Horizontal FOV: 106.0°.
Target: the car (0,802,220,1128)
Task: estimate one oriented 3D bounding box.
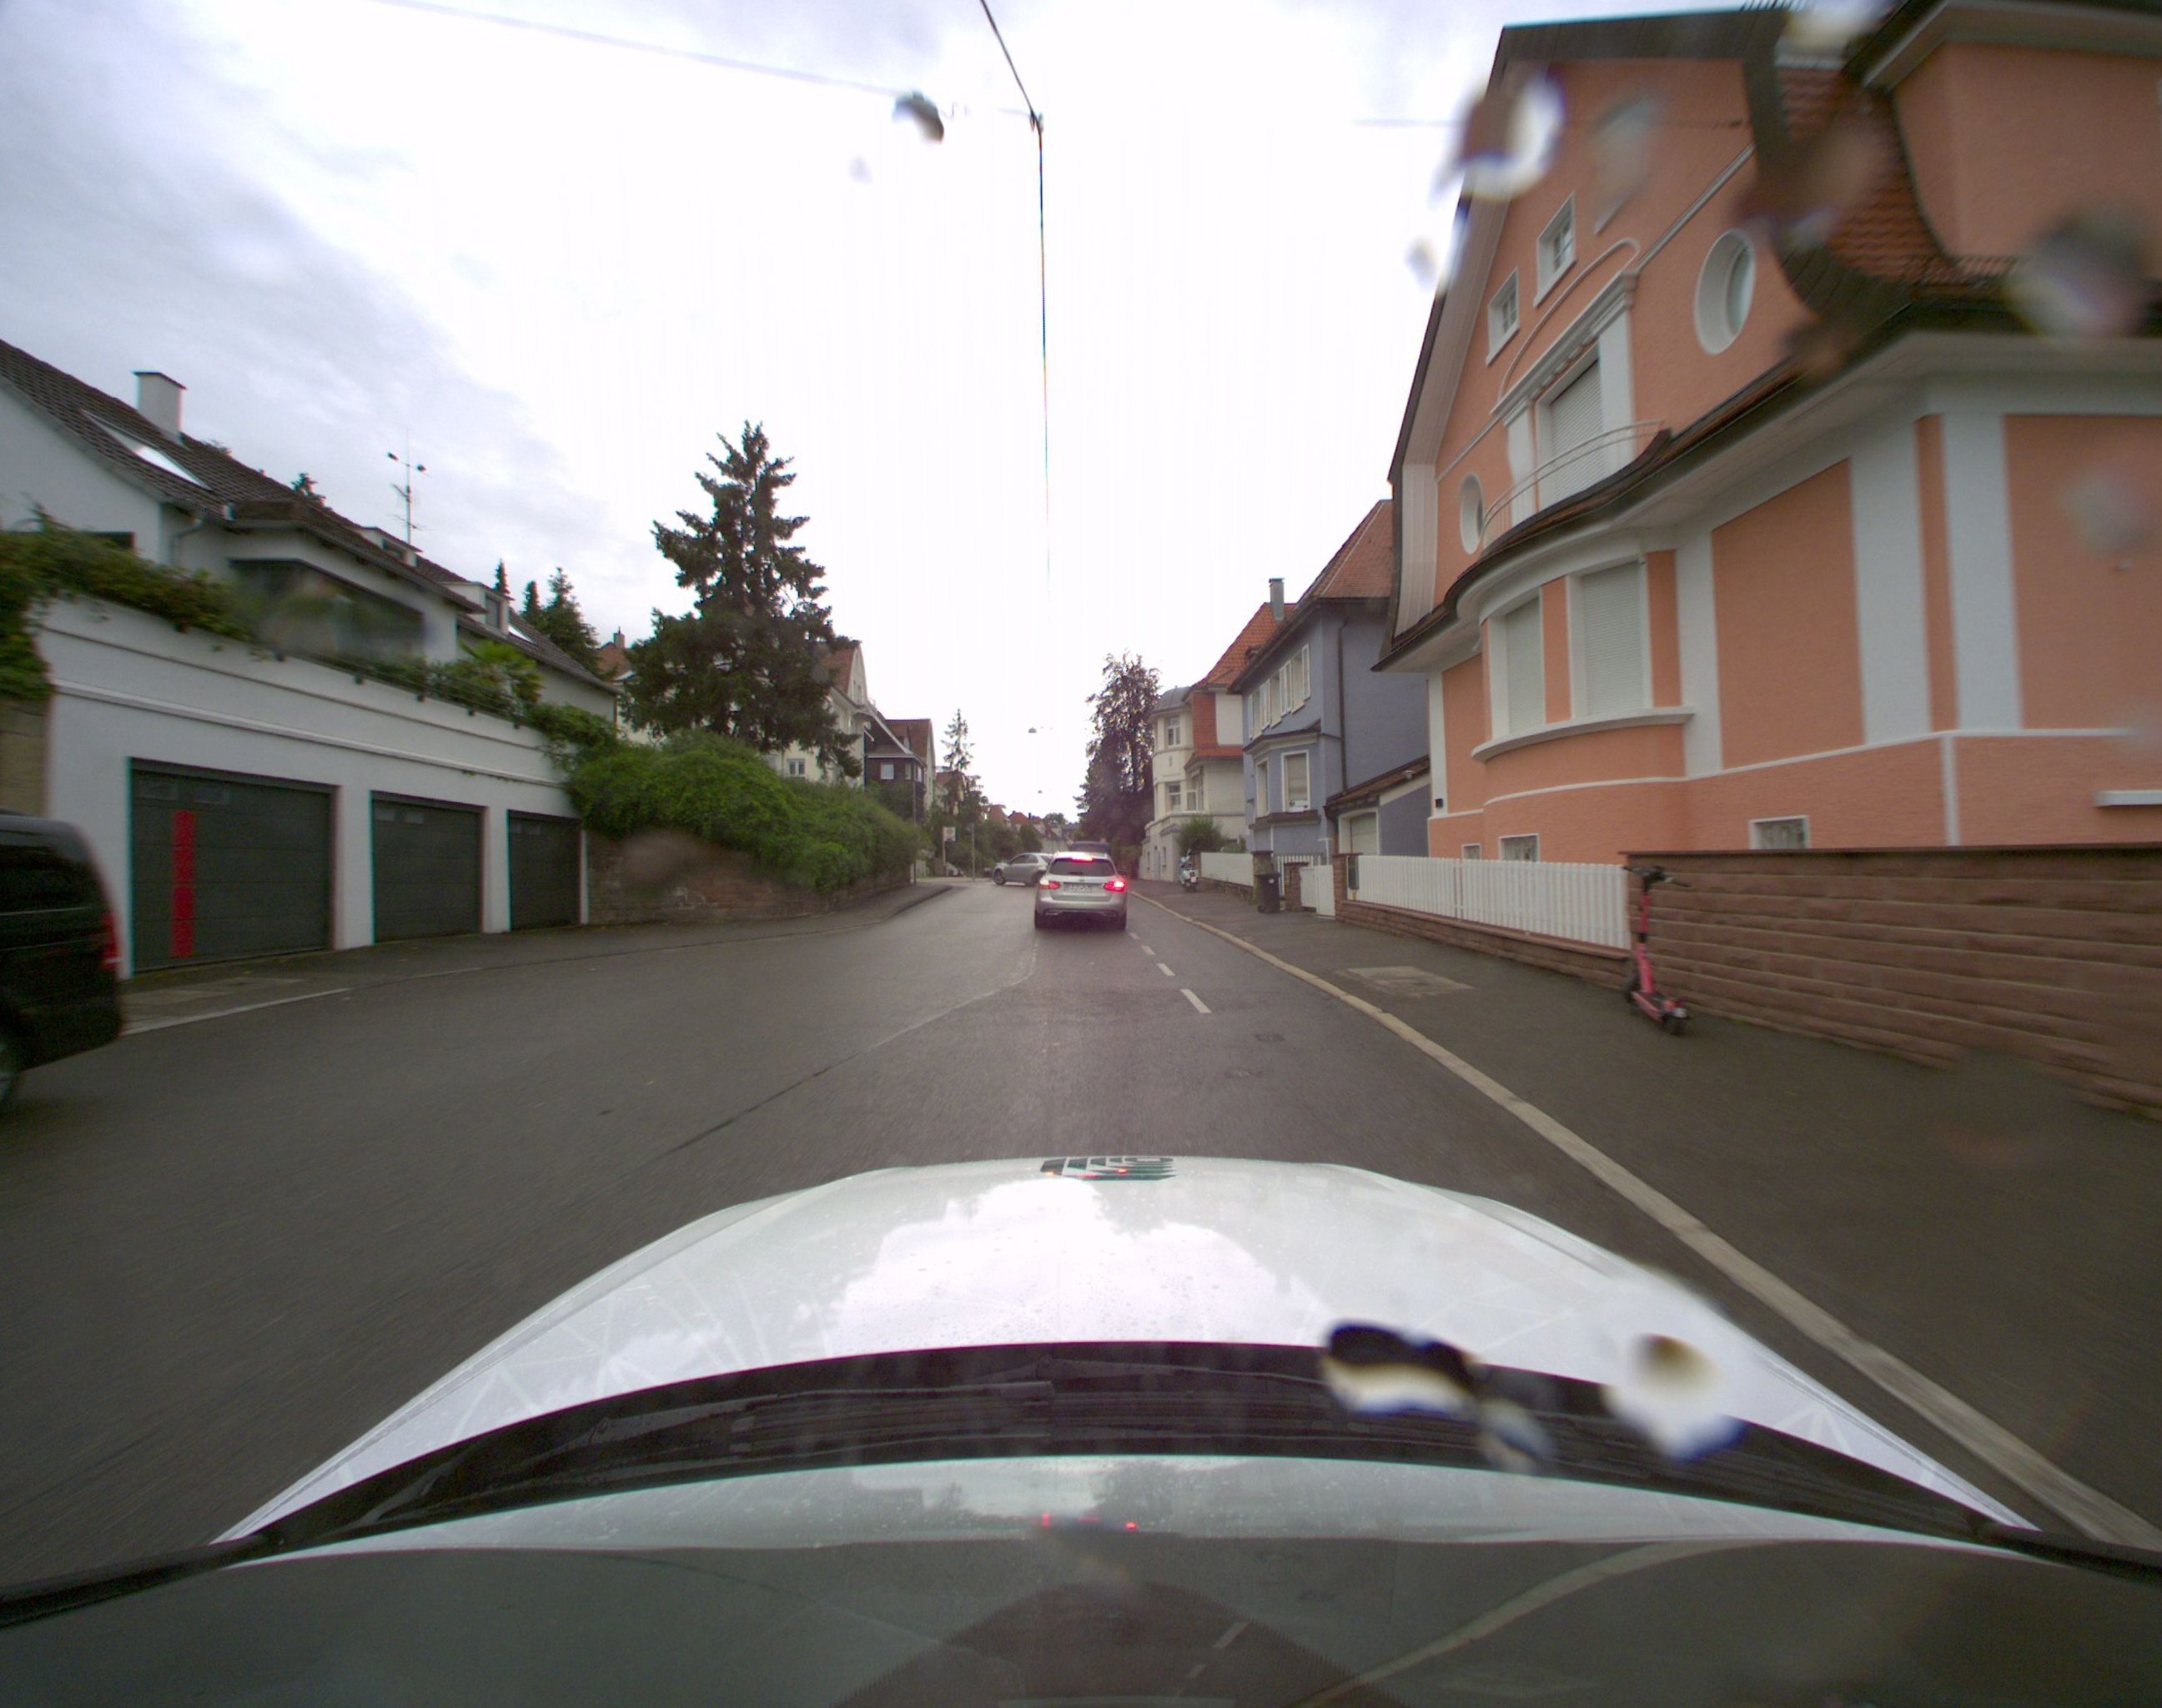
[{"bbox_3d":[-7.092,0.649,3.036,2.126,1.860,5.584,0,0,-5],"label":"car"}]

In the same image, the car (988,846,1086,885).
[{"bbox_3d":[-1.910,0.436,34.254,2.010,1.539,4.282,-1,1,-39],"label":"car"}]

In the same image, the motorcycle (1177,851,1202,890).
[{"bbox_3d":[3.730,0.549,28.143,0.579,1.261,2.332,-3,0,2],"label":"motorcycle"}]

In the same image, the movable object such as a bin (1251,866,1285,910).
[{"bbox_3d":[4.225,0.763,18.440,0.547,0.936,0.633,-4,0,-1],"label":"movable object such as a bin"}]

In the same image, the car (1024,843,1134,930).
[{"bbox_3d":[-0.032,0.563,16.870,1.976,1.553,4.297,0,0,0],"label":"car"}]

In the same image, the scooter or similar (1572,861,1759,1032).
[{"bbox_3d":[4.701,0.691,6.660,0.689,1.224,1.302,-1,0,7],"label":"scooter or similar"}]

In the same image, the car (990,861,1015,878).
[{"bbox_3d":[-7.338,1.427,76.381,2.112,1.471,4.013,-1,0,-2],"label":"car"}]

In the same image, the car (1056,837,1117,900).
[{"bbox_3d":[0.217,0.422,27.354,1.817,1.882,4.096,-2,1,1],"label":"car"}]
